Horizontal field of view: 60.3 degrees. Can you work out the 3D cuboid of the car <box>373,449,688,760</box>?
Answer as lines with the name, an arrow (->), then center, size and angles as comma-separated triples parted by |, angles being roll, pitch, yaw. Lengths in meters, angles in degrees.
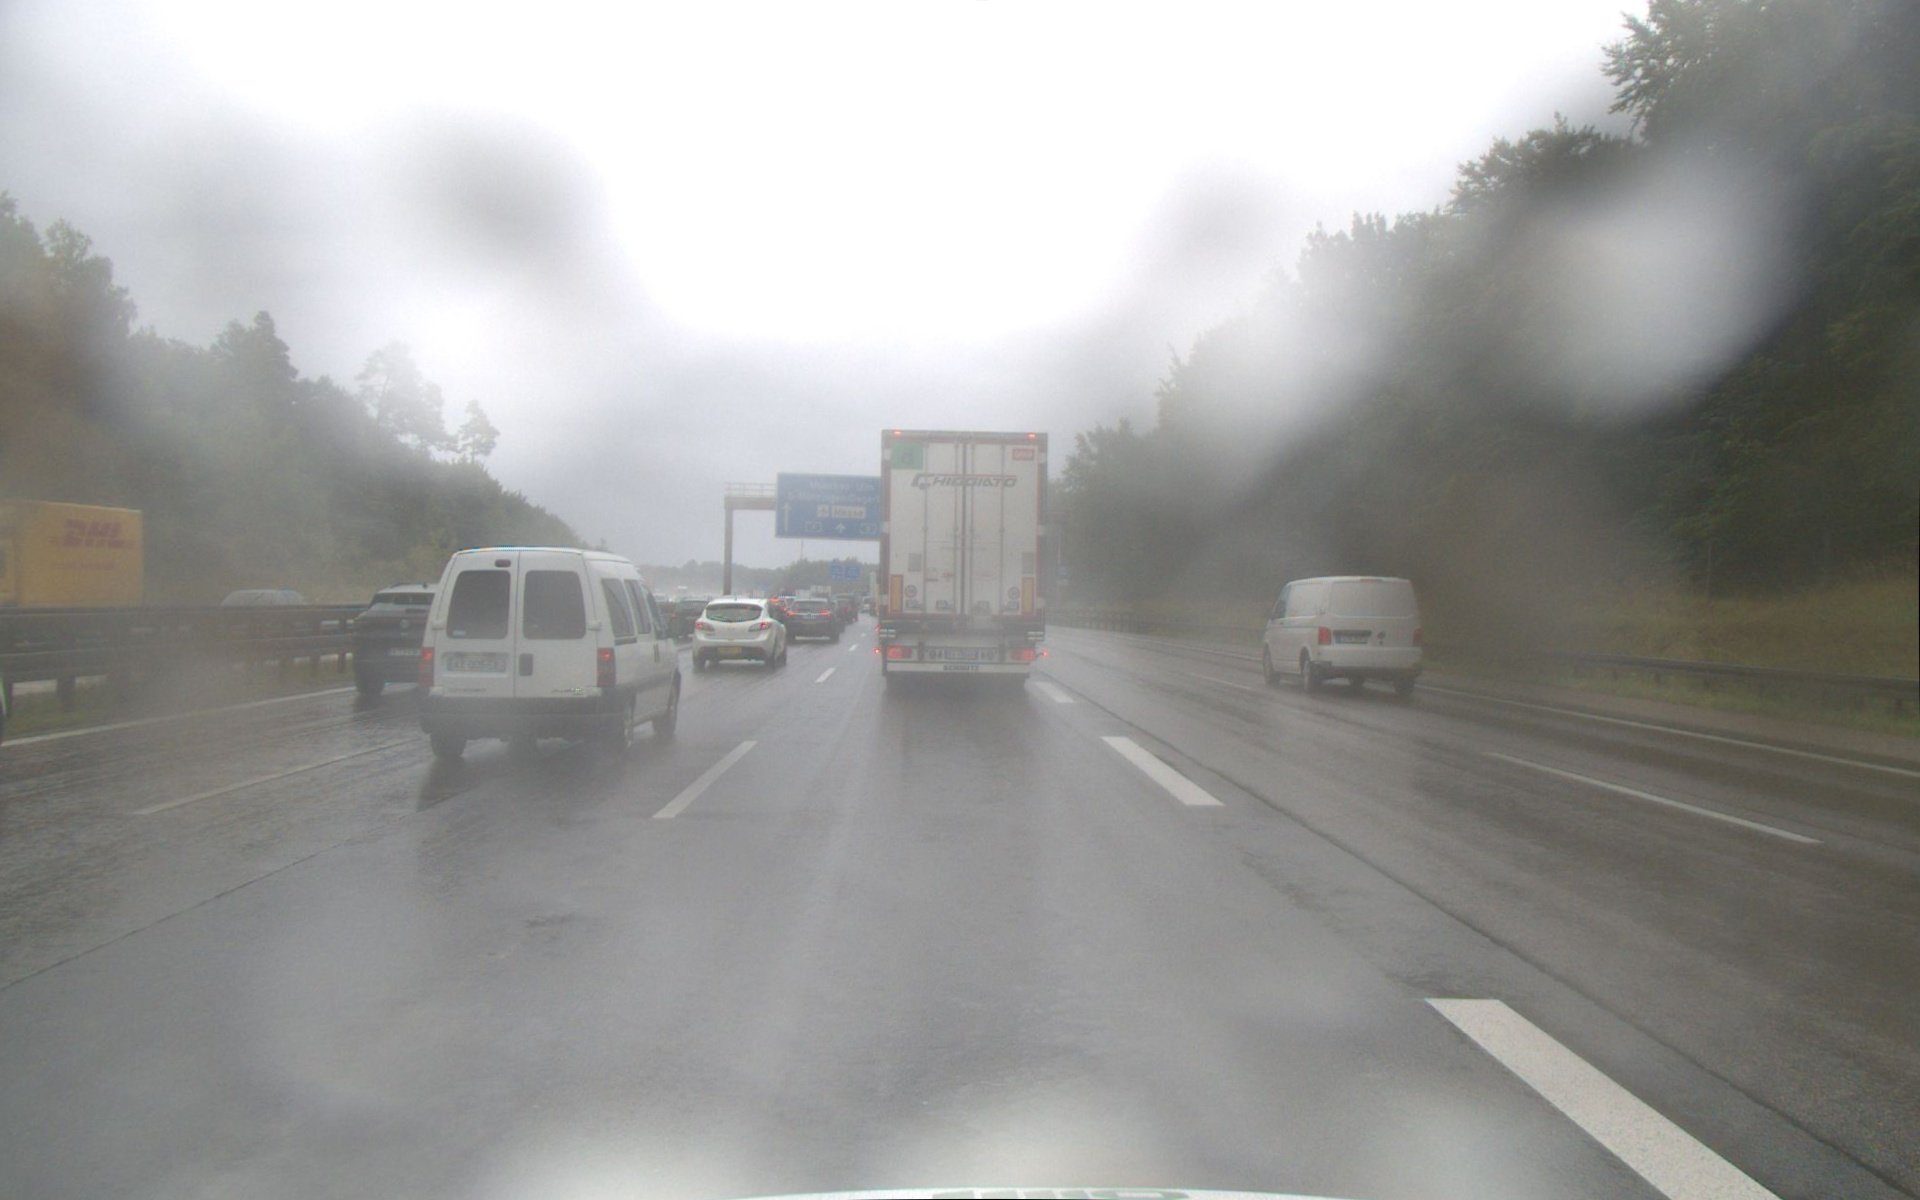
car -> -4.054, 0.021, 16.567 | 2.169, 2.618, 5.011 | 1, 0, -5

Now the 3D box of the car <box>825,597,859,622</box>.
car -> -6.883, 0.537, 97.015 | 1.808, 1.354, 4.465 | 1, 1, -2

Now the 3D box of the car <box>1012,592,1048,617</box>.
car -> 4.181, 0.226, 99.072 | 1.755, 1.431, 4.225 | 1, 0, -3

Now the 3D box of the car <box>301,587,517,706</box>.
car -> -8.215, 0.622, 25.112 | 1.808, 1.619, 4.466 | 1, 0, -1

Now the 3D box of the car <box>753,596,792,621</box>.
car -> -10.714, 0.484, 94.810 | 1.808, 1.354, 4.465 | 1, 1, -2

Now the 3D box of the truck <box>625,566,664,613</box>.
truck -> -28.562, -0.911, 149.962 | 2.489, 4.096, 6.321 | 1, 0, -3

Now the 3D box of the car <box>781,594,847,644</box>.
car -> -4.981, 0.615, 56.918 | 1.807, 1.619, 4.467 | 1, 0, 0

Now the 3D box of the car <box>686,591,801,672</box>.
car -> -4.645, 0.638, 36.010 | 1.807, 1.619, 4.073 | 1, 0, 2

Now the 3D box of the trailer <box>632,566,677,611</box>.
trailer -> -28.890, -1.068, 156.951 | 2.490, 4.096, 13.841 | 1, 0, -3

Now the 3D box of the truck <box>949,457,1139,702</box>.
truck -> 1.345, -0.293, 30.466 | 2.813, 3.624, 11.303 | 1, 0, 1

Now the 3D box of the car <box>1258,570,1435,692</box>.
car -> 6.735, 0.488, 29.347 | 1.949, 1.954, 4.766 | 1, 0, -1

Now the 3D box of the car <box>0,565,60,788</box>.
car -> -7.828, 0.557, 10.520 | 1.808, 1.619, 4.465 | 1, 0, -1

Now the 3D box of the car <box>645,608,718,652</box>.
car -> -9.359, 0.991, 55.864 | 1.808, 1.354, 4.465 | 1, 1, -2

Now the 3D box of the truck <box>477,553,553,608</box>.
truck -> -30.657, -1.283, 114.473 | 2.469, 3.544, 11.715 | 1, 0, -2

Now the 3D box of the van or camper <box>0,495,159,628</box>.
van or camper -> -23.277, -0.901, 40.903 | 2.785, 3.030, 8.784 | 1, 0, -1
